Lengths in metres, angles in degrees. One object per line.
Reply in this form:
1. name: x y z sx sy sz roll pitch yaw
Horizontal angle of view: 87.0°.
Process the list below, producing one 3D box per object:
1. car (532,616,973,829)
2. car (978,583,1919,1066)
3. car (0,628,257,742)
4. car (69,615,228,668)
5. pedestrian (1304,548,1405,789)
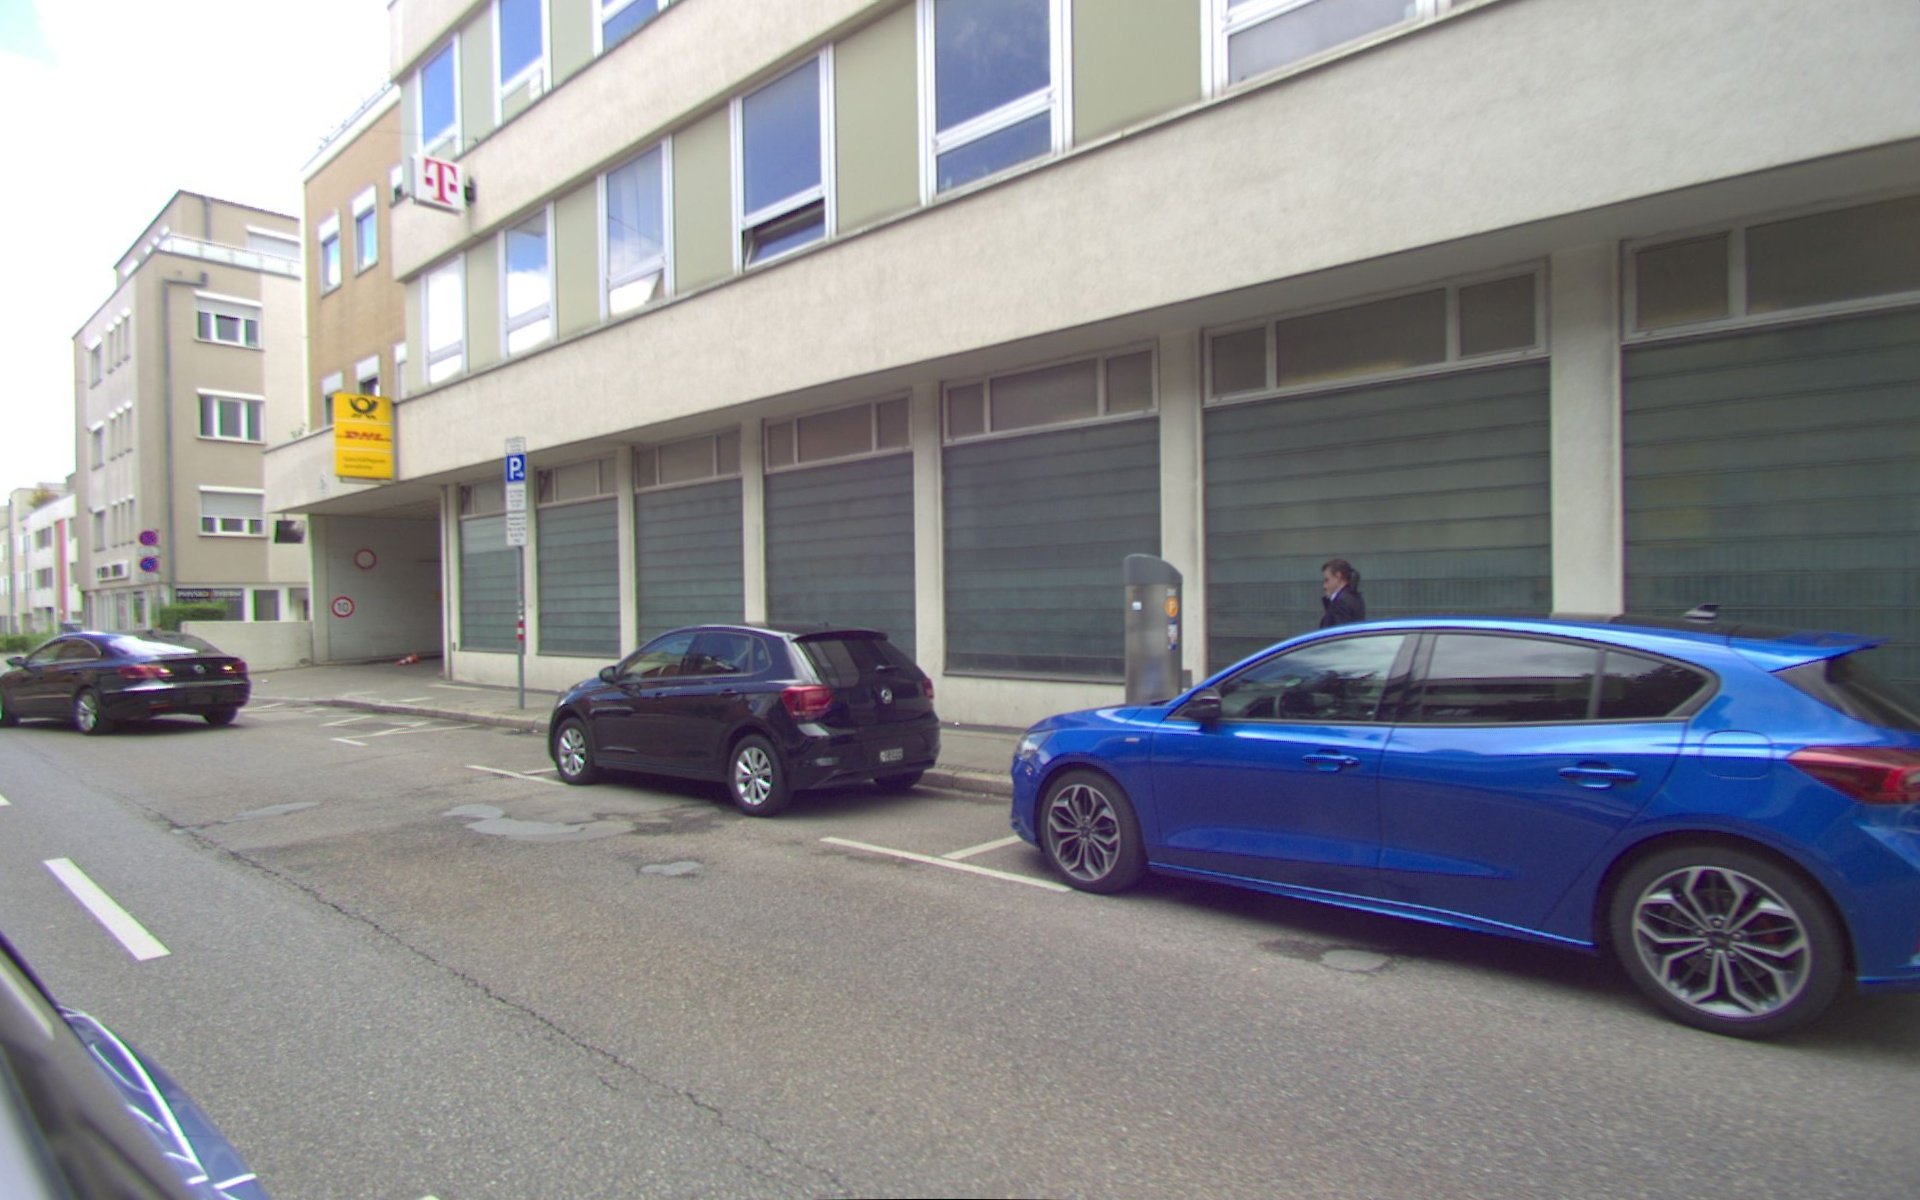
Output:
1. car: -1.918 0.884 8.758 3.866 1.436 1.699 -2 -2 39
2. car: 2.250 0.721 4.885 4.265 1.436 1.794 -2 -2 44
3. car: -12.449 1.155 14.756 4.429 1.409 1.643 -1 0 26
4. car: -34.314 1.708 42.907 1.966 2.013 5.015 -2 -1 43
5. pedestrian: 2.992 0.497 7.662 0.646 1.731 0.586 -1 -1 24
